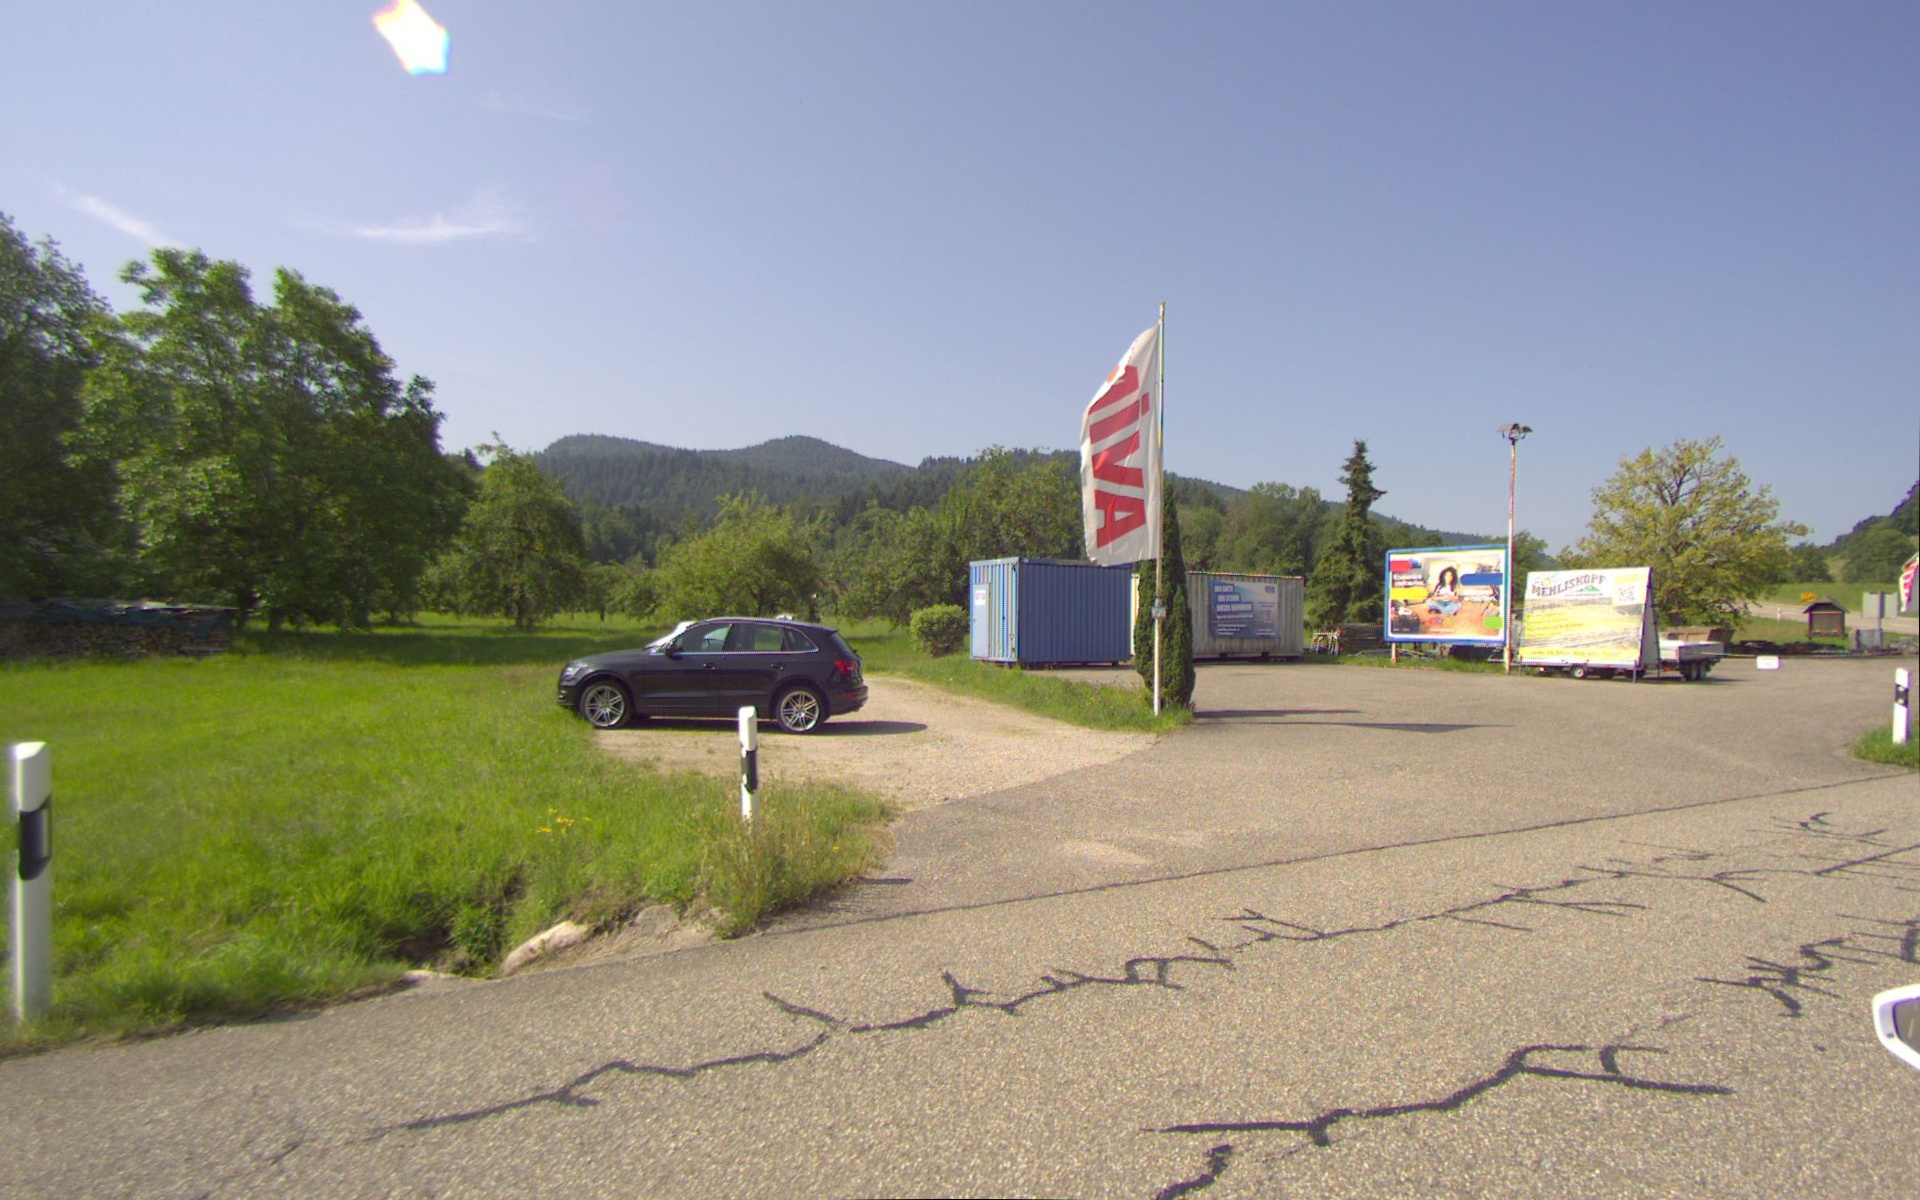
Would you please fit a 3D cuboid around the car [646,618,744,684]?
[{"bbox_3d":[-6.845,1.240,25.656,1.890,1.505,3.911,1,-1,-23],"label":"car"}]

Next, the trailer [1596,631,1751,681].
[{"bbox_3d":[20.697,1.581,29.055,5.491,1.243,1.980,2,-1,-36],"label":"trailer"}]

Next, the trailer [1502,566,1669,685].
[{"bbox_3d":[16.740,0.639,26.986,1.866,2.951,3.366,1,0,-37],"label":"trailer"}]

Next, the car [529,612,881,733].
[{"bbox_3d":[-3.644,1.038,15.047,4.813,1.670,1.836,0,-1,-3],"label":"car"}]
